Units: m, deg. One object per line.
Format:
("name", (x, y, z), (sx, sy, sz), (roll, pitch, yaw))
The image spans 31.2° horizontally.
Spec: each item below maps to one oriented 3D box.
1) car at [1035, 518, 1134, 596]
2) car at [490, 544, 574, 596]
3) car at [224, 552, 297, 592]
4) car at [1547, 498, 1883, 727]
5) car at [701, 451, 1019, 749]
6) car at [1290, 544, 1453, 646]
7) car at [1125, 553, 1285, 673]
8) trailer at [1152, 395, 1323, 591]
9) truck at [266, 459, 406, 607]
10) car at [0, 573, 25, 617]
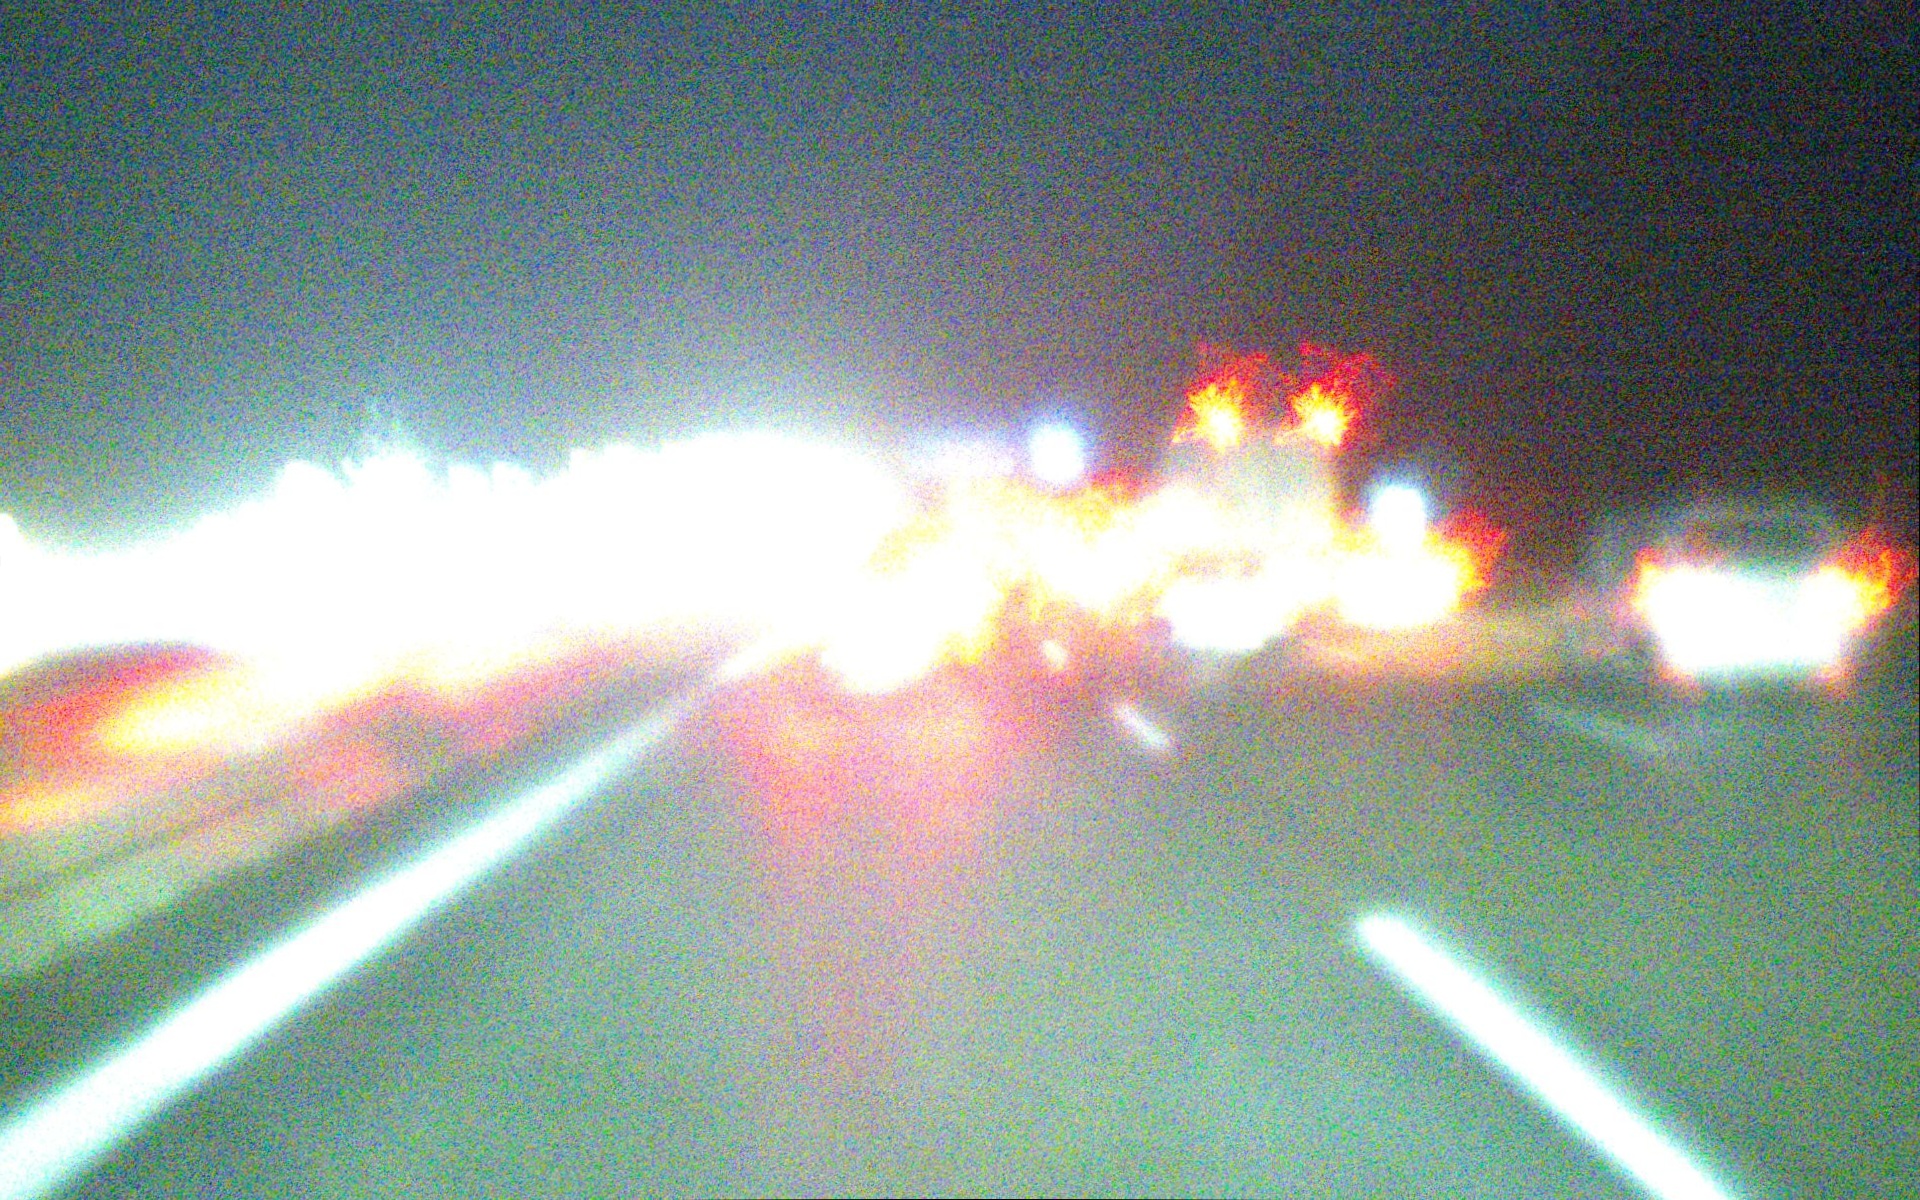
("car", (2.592, -0.919, 72.337), (1.884, 1.583, 4.000), (1, 1, -1))
("car", (-12.625, -0.900, 101.672), (1.993, 1.415, 4.000), (-1, 1, -1))
("car", (-22.550, -0.911, 110.964), (1.610, 1.226, 3.682), (-1, 1, -1))
("car", (7.162, 0.037, 33.209), (2.046, 1.967, 5.407), (-2, 2, 1))
("car", (-0.978, -0.076, 33.100), (2.709, 2.525, 5.832), (-2, 2, -2))
("car", (6.594, -0.115, 55.602), (1.894, 1.481, 4.962), (1, 2, -2))
("car", (3.024, 0.131, 43.009), (1.612, 1.407, 3.792), (1, 1, -2))
("trailer", (6.306, -2.417, 80.005), (2.803, 4.198, 12.098), (1, 1, -1))
("truck", (-18.930, -2.046, 104.630), (3.054, 4.278, 6.084), (-2, 1, -1))
("car", (-25.636, -0.115, 89.892), (1.409, 1.122, 3.542), (-1, 1, -1))
